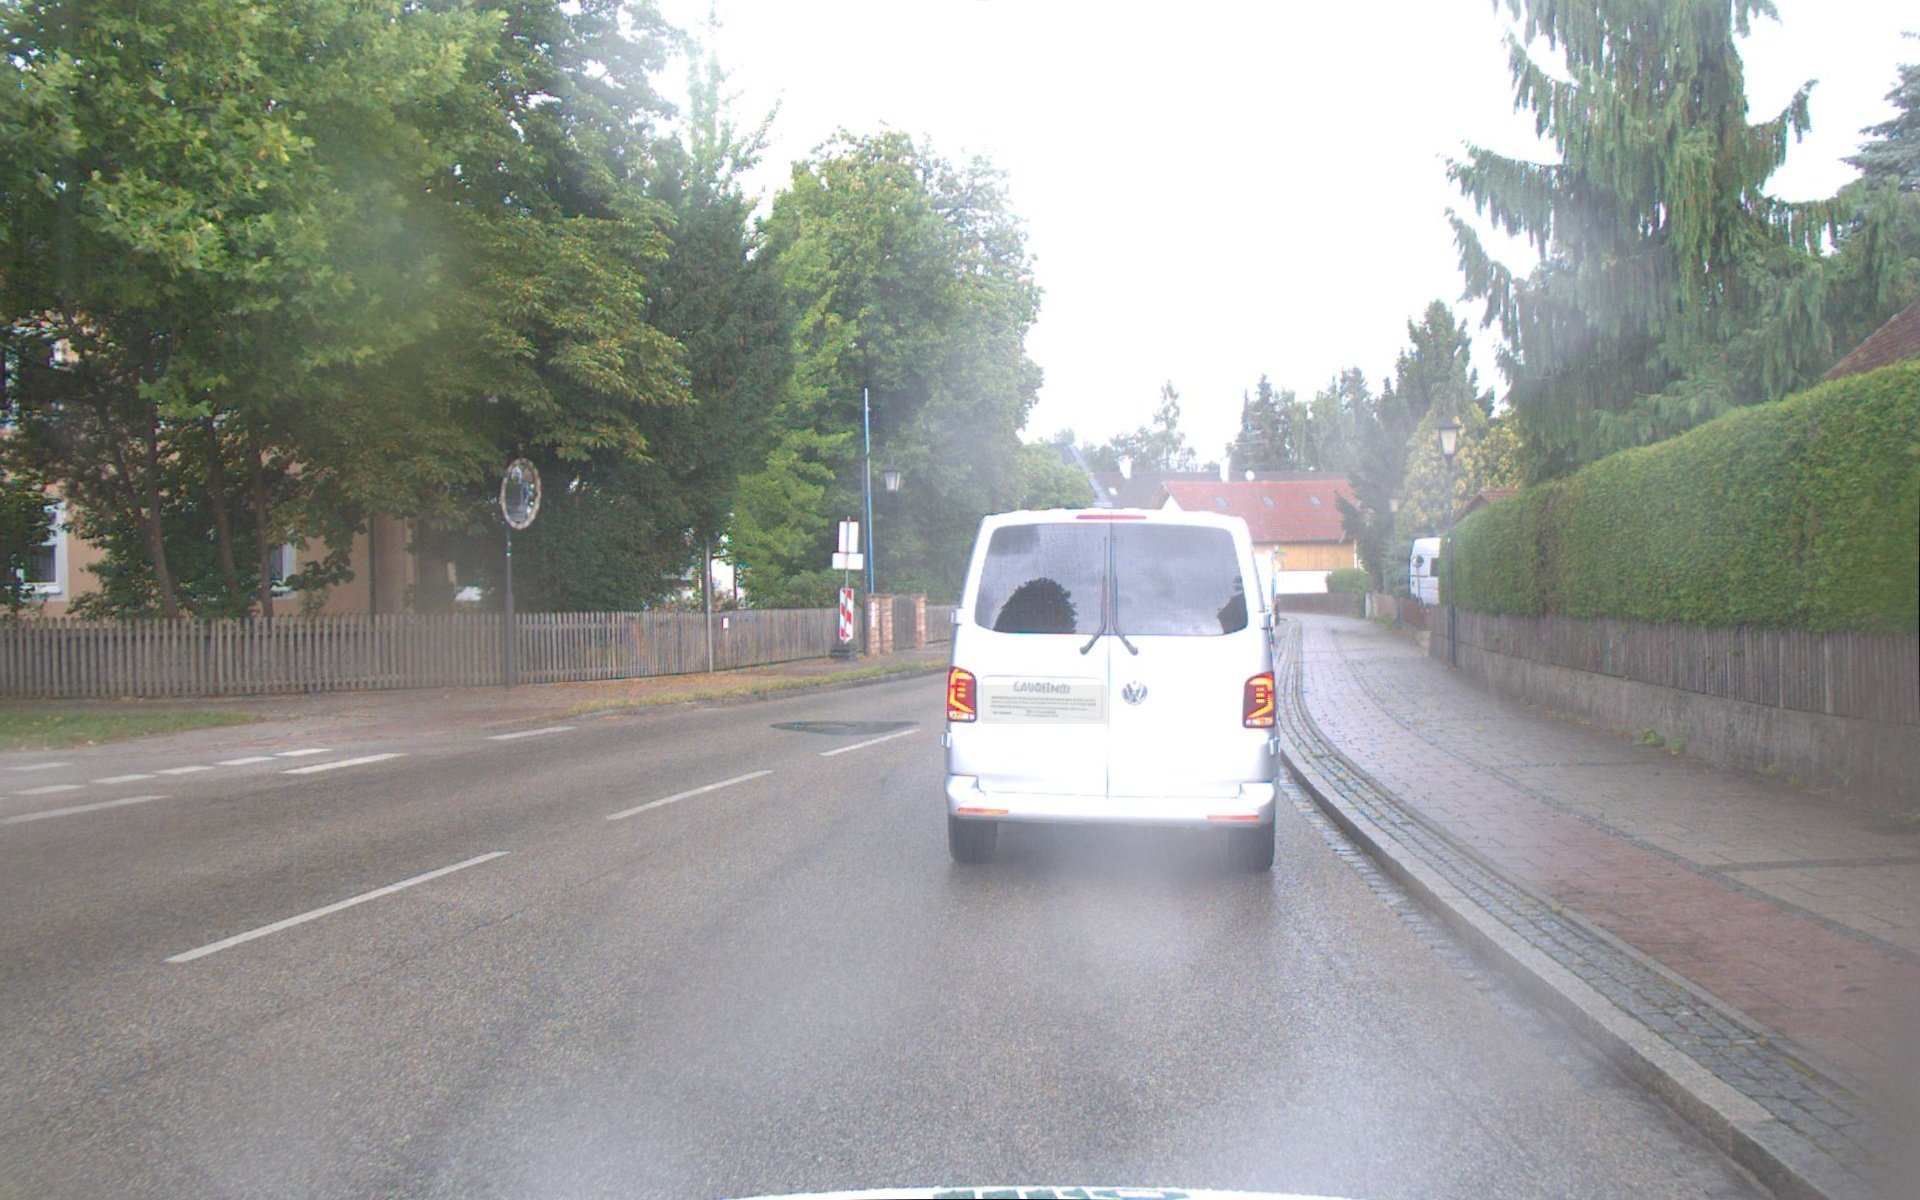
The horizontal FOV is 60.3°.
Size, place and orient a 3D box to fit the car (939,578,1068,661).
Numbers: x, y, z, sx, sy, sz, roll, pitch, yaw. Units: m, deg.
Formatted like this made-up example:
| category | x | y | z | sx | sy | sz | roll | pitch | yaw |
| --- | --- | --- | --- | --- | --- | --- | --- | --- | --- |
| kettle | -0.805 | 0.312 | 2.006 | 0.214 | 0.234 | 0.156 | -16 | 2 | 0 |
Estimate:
| category | x | y | z | sx | sy | sz | roll | pitch | yaw |
| --- | --- | --- | --- | --- | --- | --- | --- | --- | --- |
| car | 0.997 | 0.384 | 35.070 | 1.951 | 1.623 | 4.195 | 1 | 0 | 13 |

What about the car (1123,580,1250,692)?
| category | x | y | z | sx | sy | sz | roll | pitch | yaw |
| --- | --- | --- | --- | --- | --- | --- | --- | --- | --- |
| car | 3.679 | 0.542 | 26.340 | 1.762 | 1.616 | 4.003 | 1 | 0 | 11 |

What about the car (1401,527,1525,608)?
| category | x | y | z | sx | sy | sz | roll | pitch | yaw |
| --- | --- | --- | --- | --- | --- | --- | --- | --- | --- |
| car | 14.534 | -0.884 | 48.053 | 1.953 | 2.211 | 4.951 | 1 | 0 | -2 |

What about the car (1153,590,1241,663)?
| category | x | y | z | sx | sy | sz | roll | pitch | yaw |
| --- | --- | --- | --- | --- | --- | --- | --- | --- | --- |
| car | 5.447 | 0.592 | 37.719 | 1.762 | 1.534 | 4.003 | 1 | 0 | 11 |

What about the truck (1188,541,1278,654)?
| category | x | y | z | sx | sy | sz | roll | pitch | yaw |
| --- | --- | --- | --- | --- | --- | --- | --- | --- | --- |
| truck | 8.218 | -0.051 | 49.329 | 2.422 | 3.128 | 6.301 | 1 | 0 | 11 |

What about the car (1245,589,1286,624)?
| category | x | y | z | sx | sy | sz | roll | pitch | yaw |
| --- | --- | --- | --- | --- | --- | --- | --- | --- | --- |
| car | 14.019 | 0.304 | 75.860 | 1.762 | 1.534 | 4.003 | 1 | 0 | 11 |

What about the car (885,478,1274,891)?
| category | x | y | z | sx | sy | sz | roll | pitch | yaw |
| --- | --- | --- | --- | --- | --- | --- | --- | --- | --- |
| car | 0.955 | 0.425 | 10.372 | 1.762 | 2.049 | 4.003 | 1 | 0 | 14 |
